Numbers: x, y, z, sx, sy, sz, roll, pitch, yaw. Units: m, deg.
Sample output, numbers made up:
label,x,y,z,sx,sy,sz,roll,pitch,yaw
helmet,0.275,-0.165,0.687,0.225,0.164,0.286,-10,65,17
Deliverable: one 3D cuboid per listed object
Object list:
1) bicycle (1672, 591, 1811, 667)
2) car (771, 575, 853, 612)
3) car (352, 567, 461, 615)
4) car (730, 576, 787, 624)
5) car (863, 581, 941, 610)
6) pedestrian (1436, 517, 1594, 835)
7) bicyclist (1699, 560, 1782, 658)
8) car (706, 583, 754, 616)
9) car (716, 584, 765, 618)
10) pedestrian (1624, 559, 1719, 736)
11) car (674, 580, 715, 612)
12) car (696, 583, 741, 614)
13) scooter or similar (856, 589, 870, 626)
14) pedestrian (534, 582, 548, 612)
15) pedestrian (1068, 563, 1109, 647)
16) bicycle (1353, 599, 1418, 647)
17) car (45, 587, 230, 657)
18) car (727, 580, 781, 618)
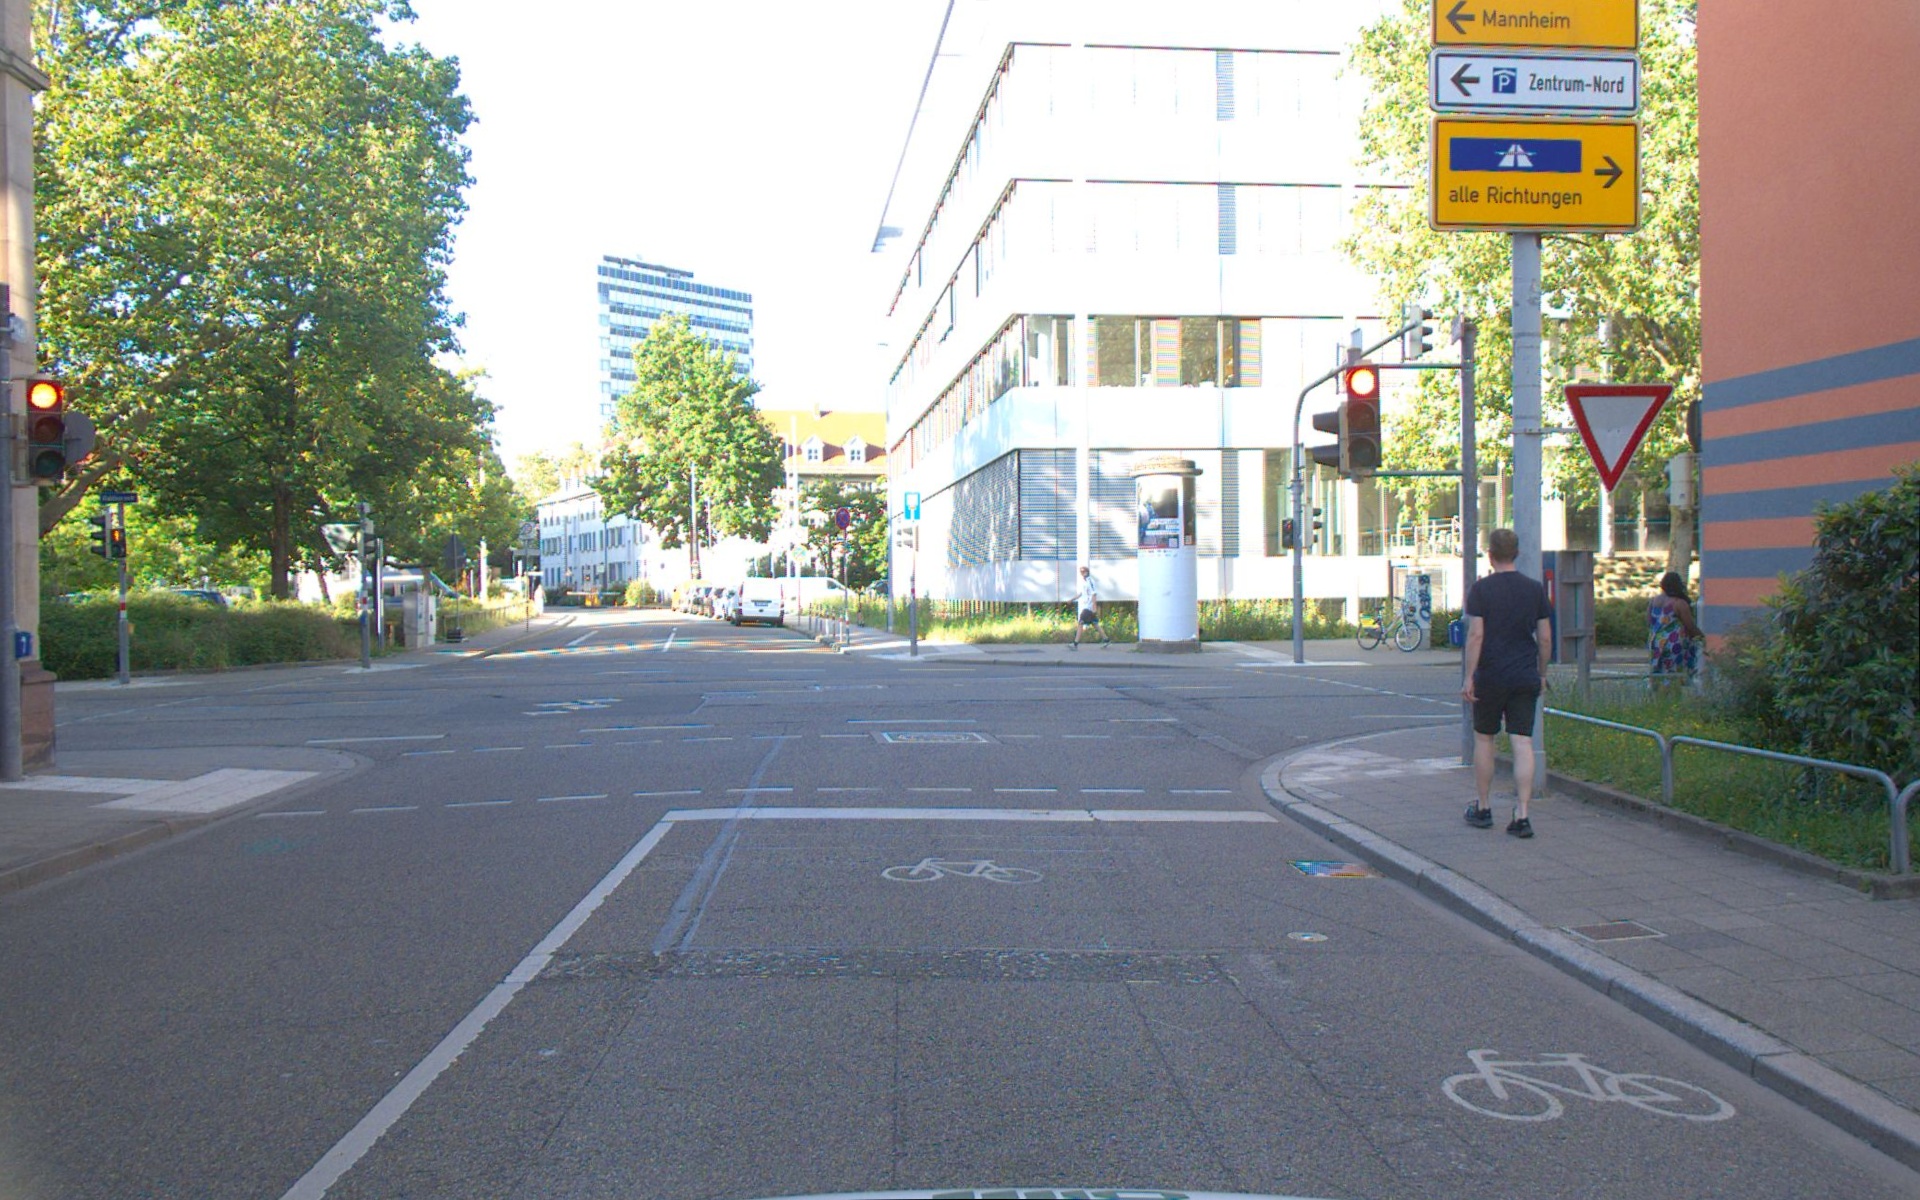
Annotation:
label,x,y,z,sx,sy,sz,roll,pitch,yaw
bicycle,12.525,0.461,26.525,1.922,1.172,0.593,-1,0,5
car,-9.197,-0.376,102.794,4.718,2.196,1.990,1,0,-18
car,-24.959,-0.395,74.678,4.363,2.049,1.995,1,0,-10
car,-7.913,0.003,64.699,1.957,1.755,4.641,1,0,-10
car,-3.672,-0.265,104.720,4.563,1.755,1.991,1,0,-17
pedestrian,3.337,0.442,9.997,0.685,1.842,0.719,1,-1,-1
bicyclist,12.513,0.140,26.531,1.052,1.554,0.593,-1,0,5
car,-11.304,-0.026,81.080,1.959,1.525,4.272,1,0,-13
car,-10.191,0.043,76.649,1.958,1.525,4.639,1,0,-11
pedestrian,7.609,0.493,17.691,0.713,1.842,0.691,1,-1,-42
car,-15.381,-0.231,95.601,1.960,1.755,4.635,1,0,-14
car,-12.548,-0.069,85.786,1.959,1.525,4.637,1,0,-13
scooter or similar,-3.424,0.254,58.233,0.429,1.278,1.418,-1,0,-5
pedestrian,-22.976,-0.172,90.690,0.688,1.614,0.634,1,-1,-16
pedestrian,2.949,0.116,37.940,0.895,1.901,0.743,1,-1,2
bicycle,9.327,0.496,36.280,0.376,1.026,1.410,-1,0,-42
car,-18.362,0.489,37.061,3.347,1.483,1.646,1,0,-11
car,-8.865,-0.033,70.898,1.958,1.525,4.639,1,0,-11
